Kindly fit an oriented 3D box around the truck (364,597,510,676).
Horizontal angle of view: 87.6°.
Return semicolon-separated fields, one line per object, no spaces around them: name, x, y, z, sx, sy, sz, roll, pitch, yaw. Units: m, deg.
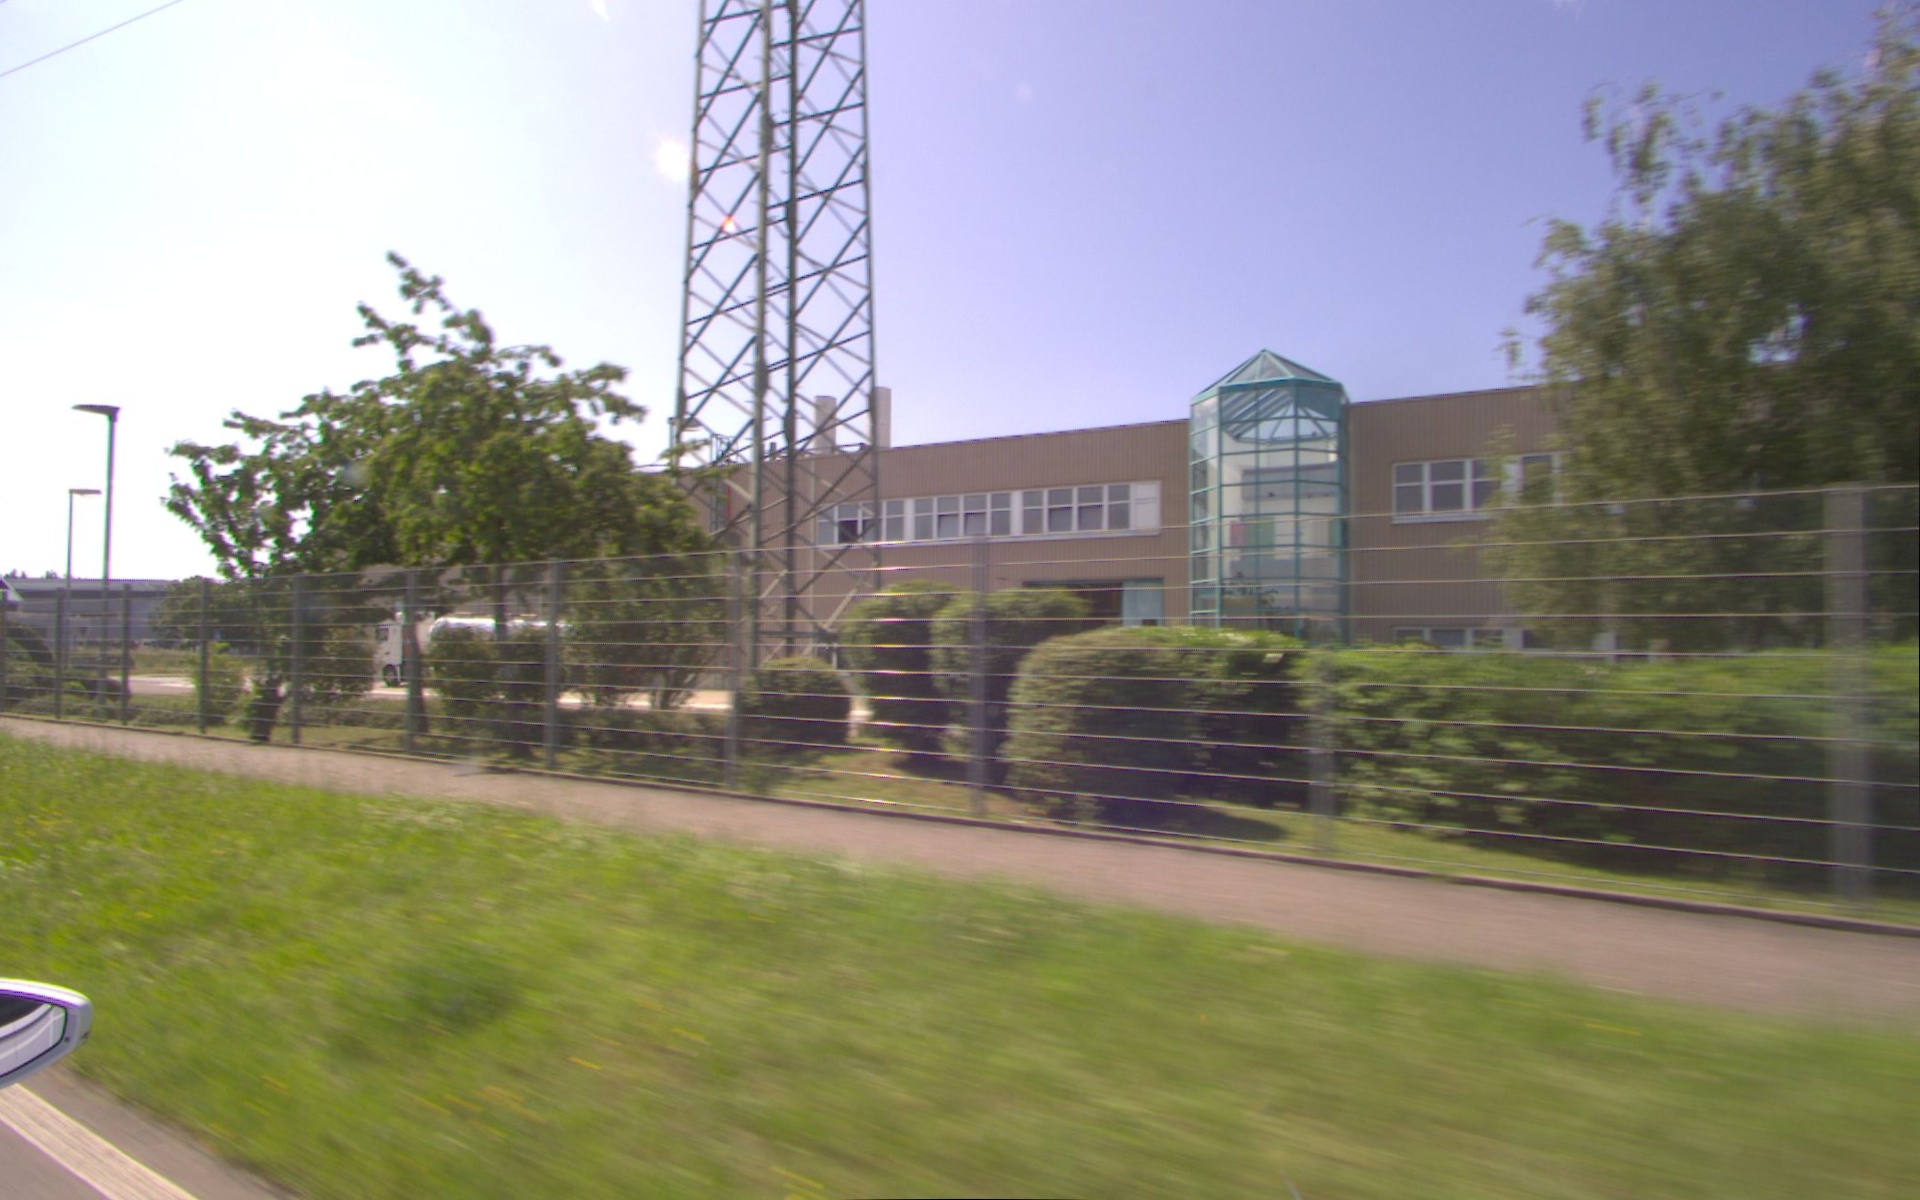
truck;-27.222;1.875;52.149;6.301;3.917;3.597;0;-1;23

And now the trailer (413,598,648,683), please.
trailer;-21.228;1.924;49.245;12.039;3.783;3.592;0;-1;26

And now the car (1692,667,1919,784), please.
car;15.866;2.068;16.680;5.562;1.801;2.112;0;-3;24
